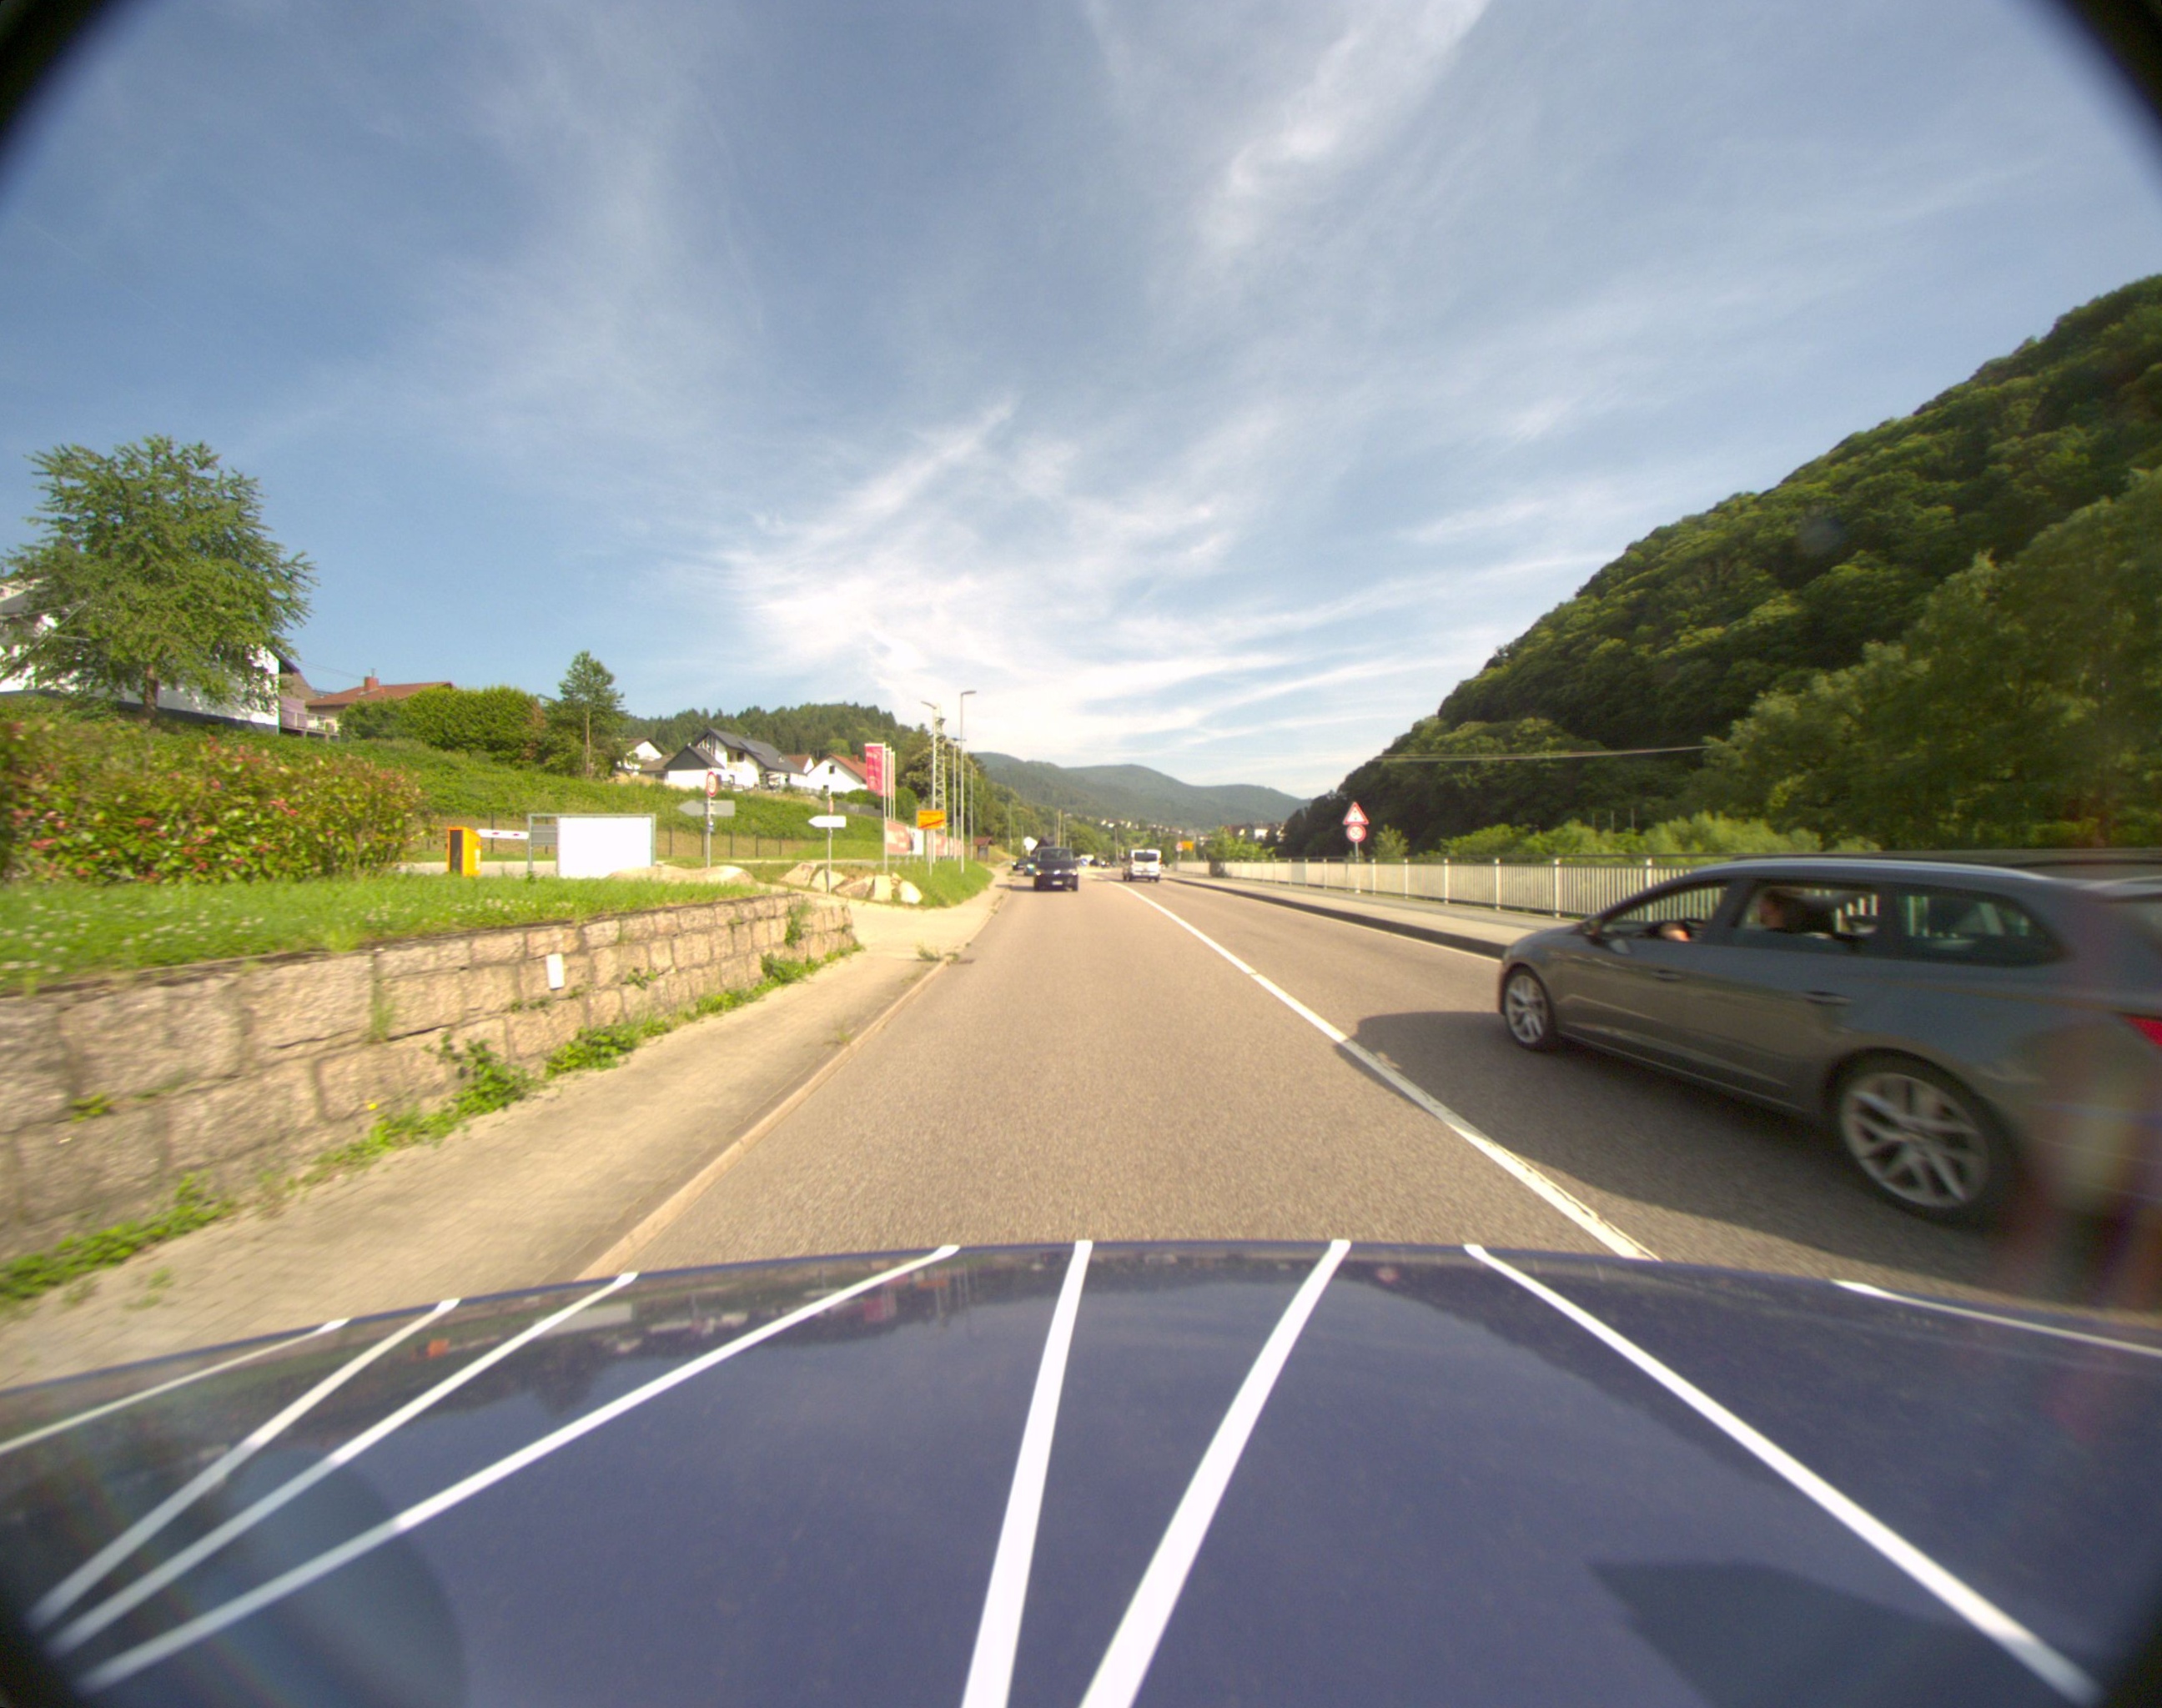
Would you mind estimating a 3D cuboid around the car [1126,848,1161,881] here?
[{"bbox_3d":[3.870,0.614,47.965,1.924,1.956,5.146,1,1,2],"label":"car"}]

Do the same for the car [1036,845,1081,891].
[{"bbox_3d":[-1.088,0.596,34.300,1.866,1.936,4.636,0,0,-3],"label":"car"}]

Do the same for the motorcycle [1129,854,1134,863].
[{"bbox_3d":[8.623,0.786,128.933,0.774,1.414,2.319,1,0,4],"label":"motorcycle"}]

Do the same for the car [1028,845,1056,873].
[{"bbox_3d":[-2.869,0.395,56.356,1.613,2.001,3.824,-1,-1,3],"label":"car"}]

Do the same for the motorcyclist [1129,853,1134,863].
[{"bbox_3d":[8.633,0.666,129.007,0.764,1.668,0.727,1,1,4],"label":"motorcyclist"}]

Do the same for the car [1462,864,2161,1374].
[{"bbox_3d":[4.163,0.820,4.130,1.817,1.475,4.798,-1,0,1],"label":"car"}]

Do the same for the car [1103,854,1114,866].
[{"bbox_3d":[4.927,1.096,135.665,1.909,2.001,4.001,-1,-1,0],"label":"car"}]

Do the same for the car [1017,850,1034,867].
[{"bbox_3d":[-5.496,0.452,74.868,1.614,1.622,3.821,0,-1,-5],"label":"car"}]
